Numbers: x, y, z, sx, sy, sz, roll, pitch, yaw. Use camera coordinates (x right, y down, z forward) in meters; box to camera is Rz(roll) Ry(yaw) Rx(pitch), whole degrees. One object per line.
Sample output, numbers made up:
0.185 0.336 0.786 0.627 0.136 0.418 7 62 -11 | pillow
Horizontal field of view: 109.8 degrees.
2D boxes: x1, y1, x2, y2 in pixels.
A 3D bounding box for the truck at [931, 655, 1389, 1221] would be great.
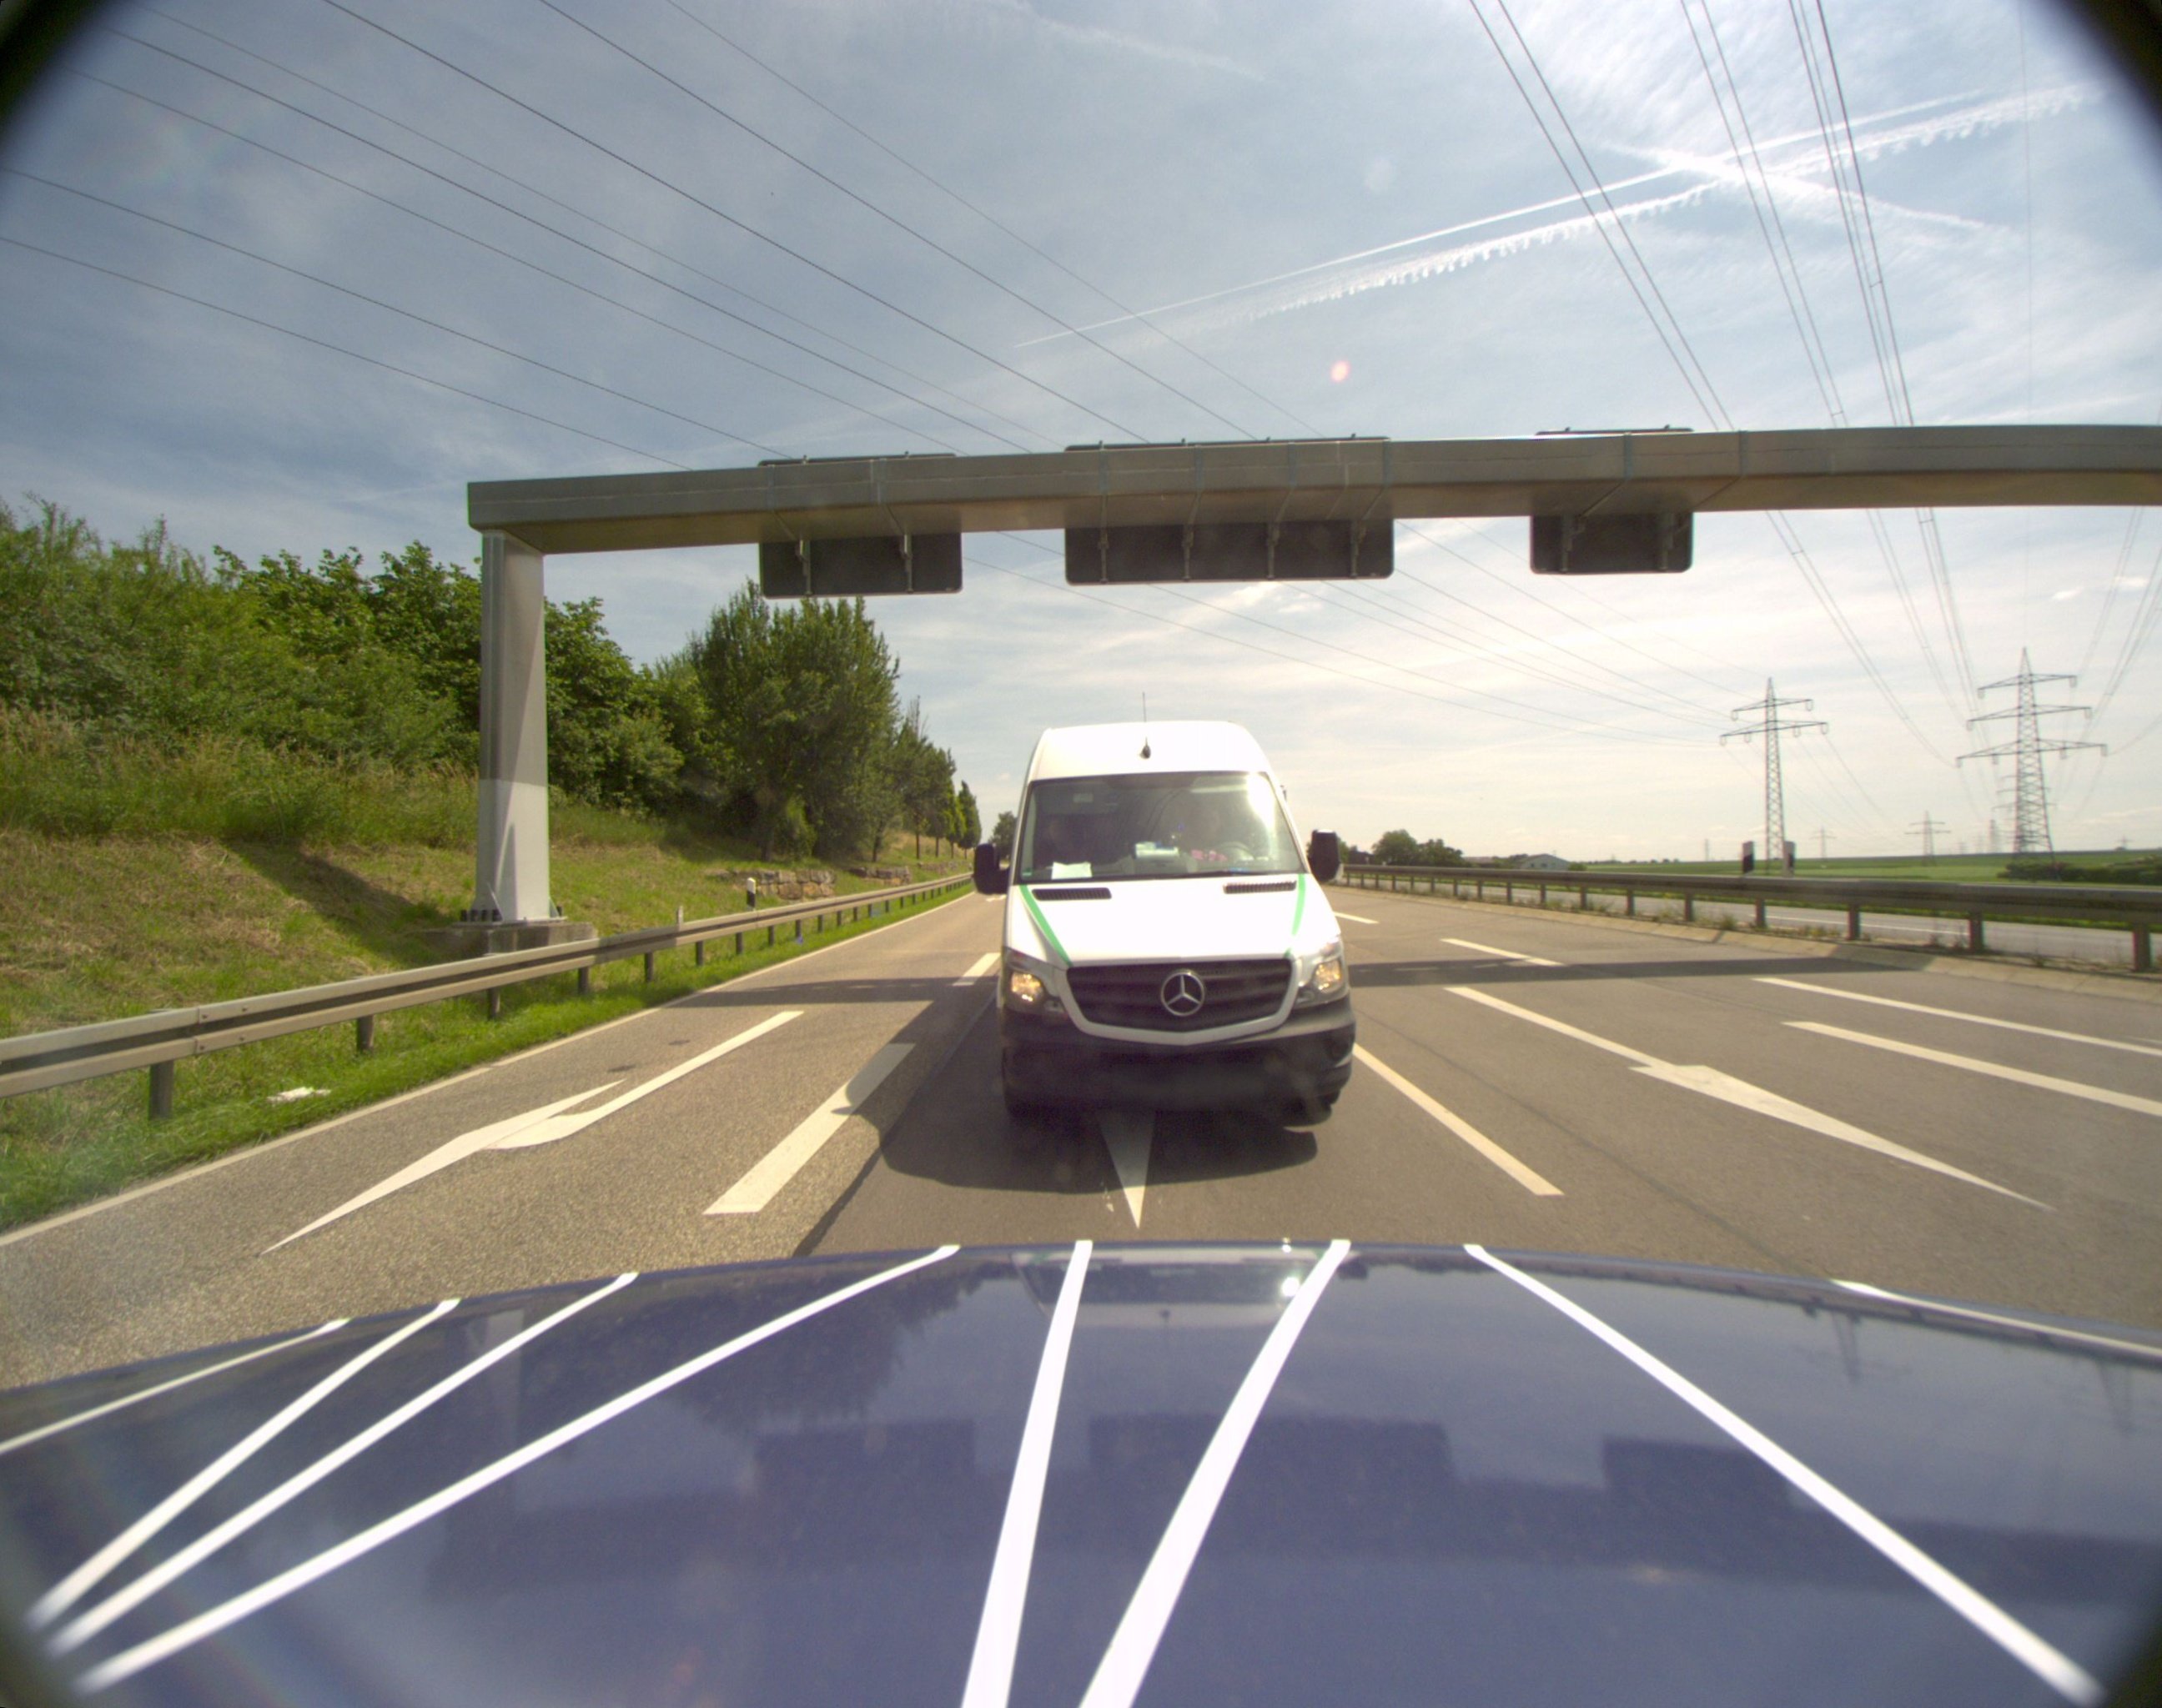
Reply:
0.451 0.389 6.004 1.998 2.518 5.105 -2 0 2 | truck
